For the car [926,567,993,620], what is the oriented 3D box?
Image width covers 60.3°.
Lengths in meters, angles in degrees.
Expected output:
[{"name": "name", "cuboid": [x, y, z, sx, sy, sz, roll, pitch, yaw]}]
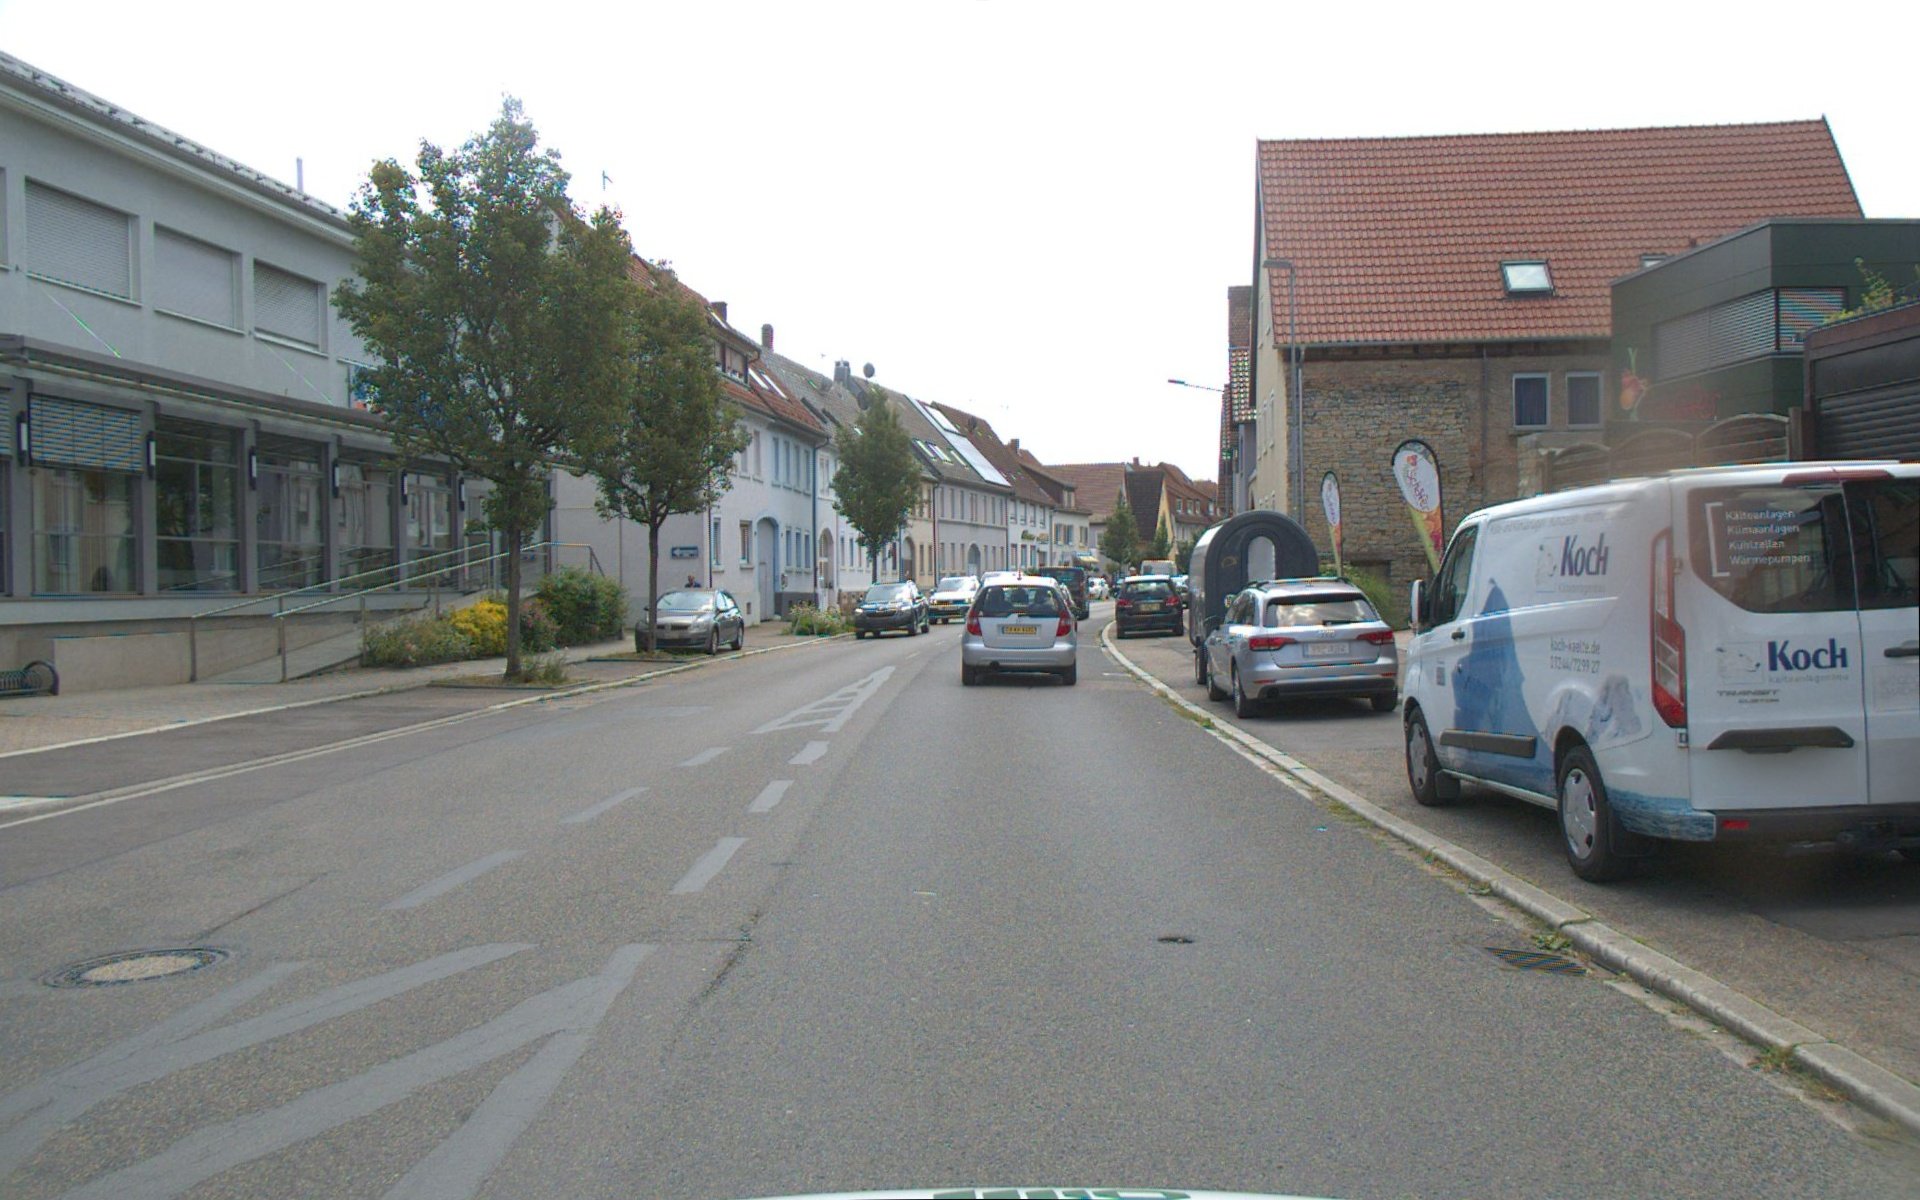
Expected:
[{"name": "car", "cuboid": [0.020, -0.265, 59.928, 1.913, 1.815, 4.655, 0, 1, 6]}]

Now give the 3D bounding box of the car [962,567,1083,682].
[{"name": "car", "cuboid": [0.936, 0.340, 25.941, 1.732, 1.622, 4.000, 1, 0, 1]}]

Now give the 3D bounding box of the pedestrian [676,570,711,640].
[{"name": "pedestrian", "cuboid": [-7.070, 0.127, 43.865, 0.723, 1.833, 0.643, -2, 0, 2]}]

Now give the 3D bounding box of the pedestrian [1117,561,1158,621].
[{"name": "pedestrian", "cuboid": [5.640, -0.280, 52.550, 1.072, 1.853, 1.471, -1, 1, 14]}]

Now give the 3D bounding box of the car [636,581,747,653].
[{"name": "car", "cuboid": [-5.996, 0.344, 37.398, 1.767, 1.486, 4.159, -1, 1, 1]}]

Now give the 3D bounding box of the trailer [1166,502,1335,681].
[{"name": "trailer", "cuboid": [4.224, -0.145, 24.534, 1.807, 2.395, 3.589, -2, 1, 0]}]

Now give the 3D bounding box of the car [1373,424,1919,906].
[{"name": "car", "cuboid": [3.985, 0.225, 9.645, 1.853, 2.016, 4.931, -4, 1, 1]}]

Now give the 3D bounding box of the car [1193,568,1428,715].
[{"name": "car", "cuboid": [3.998, 0.437, 19.636, 1.837, 1.507, 4.675, -1, 0, 1]}]

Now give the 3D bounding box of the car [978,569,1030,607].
[{"name": "car", "cuboid": [2.371, -0.675, 88.343, 2.047, 1.916, 4.004, -1, 1, 11]}]

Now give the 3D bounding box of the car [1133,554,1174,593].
[{"name": "car", "cuboid": [12.027, -1.613, 102.678, 2.188, 2.261, 4.004, -2, 0, 10]}]

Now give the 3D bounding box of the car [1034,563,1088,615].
[{"name": "car", "cuboid": [3.953, -0.423, 64.275, 1.731, 1.920, 4.451, 1, 0, 8]}]

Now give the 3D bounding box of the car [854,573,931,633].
[{"name": "car", "cuboid": [-1.898, 0.062, 47.646, 1.706, 1.553, 4.022, -3, 1, 4]}]

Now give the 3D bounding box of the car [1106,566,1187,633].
[{"name": "car", "cuboid": [4.955, -0.058, 43.472, 1.951, 1.586, 4.004, -3, 1, 8]}]

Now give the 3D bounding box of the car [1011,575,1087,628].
[{"name": "car", "cuboid": [2.613, 0.039, 47.686, 1.904, 1.432, 4.003, 1, 0, 7]}]
